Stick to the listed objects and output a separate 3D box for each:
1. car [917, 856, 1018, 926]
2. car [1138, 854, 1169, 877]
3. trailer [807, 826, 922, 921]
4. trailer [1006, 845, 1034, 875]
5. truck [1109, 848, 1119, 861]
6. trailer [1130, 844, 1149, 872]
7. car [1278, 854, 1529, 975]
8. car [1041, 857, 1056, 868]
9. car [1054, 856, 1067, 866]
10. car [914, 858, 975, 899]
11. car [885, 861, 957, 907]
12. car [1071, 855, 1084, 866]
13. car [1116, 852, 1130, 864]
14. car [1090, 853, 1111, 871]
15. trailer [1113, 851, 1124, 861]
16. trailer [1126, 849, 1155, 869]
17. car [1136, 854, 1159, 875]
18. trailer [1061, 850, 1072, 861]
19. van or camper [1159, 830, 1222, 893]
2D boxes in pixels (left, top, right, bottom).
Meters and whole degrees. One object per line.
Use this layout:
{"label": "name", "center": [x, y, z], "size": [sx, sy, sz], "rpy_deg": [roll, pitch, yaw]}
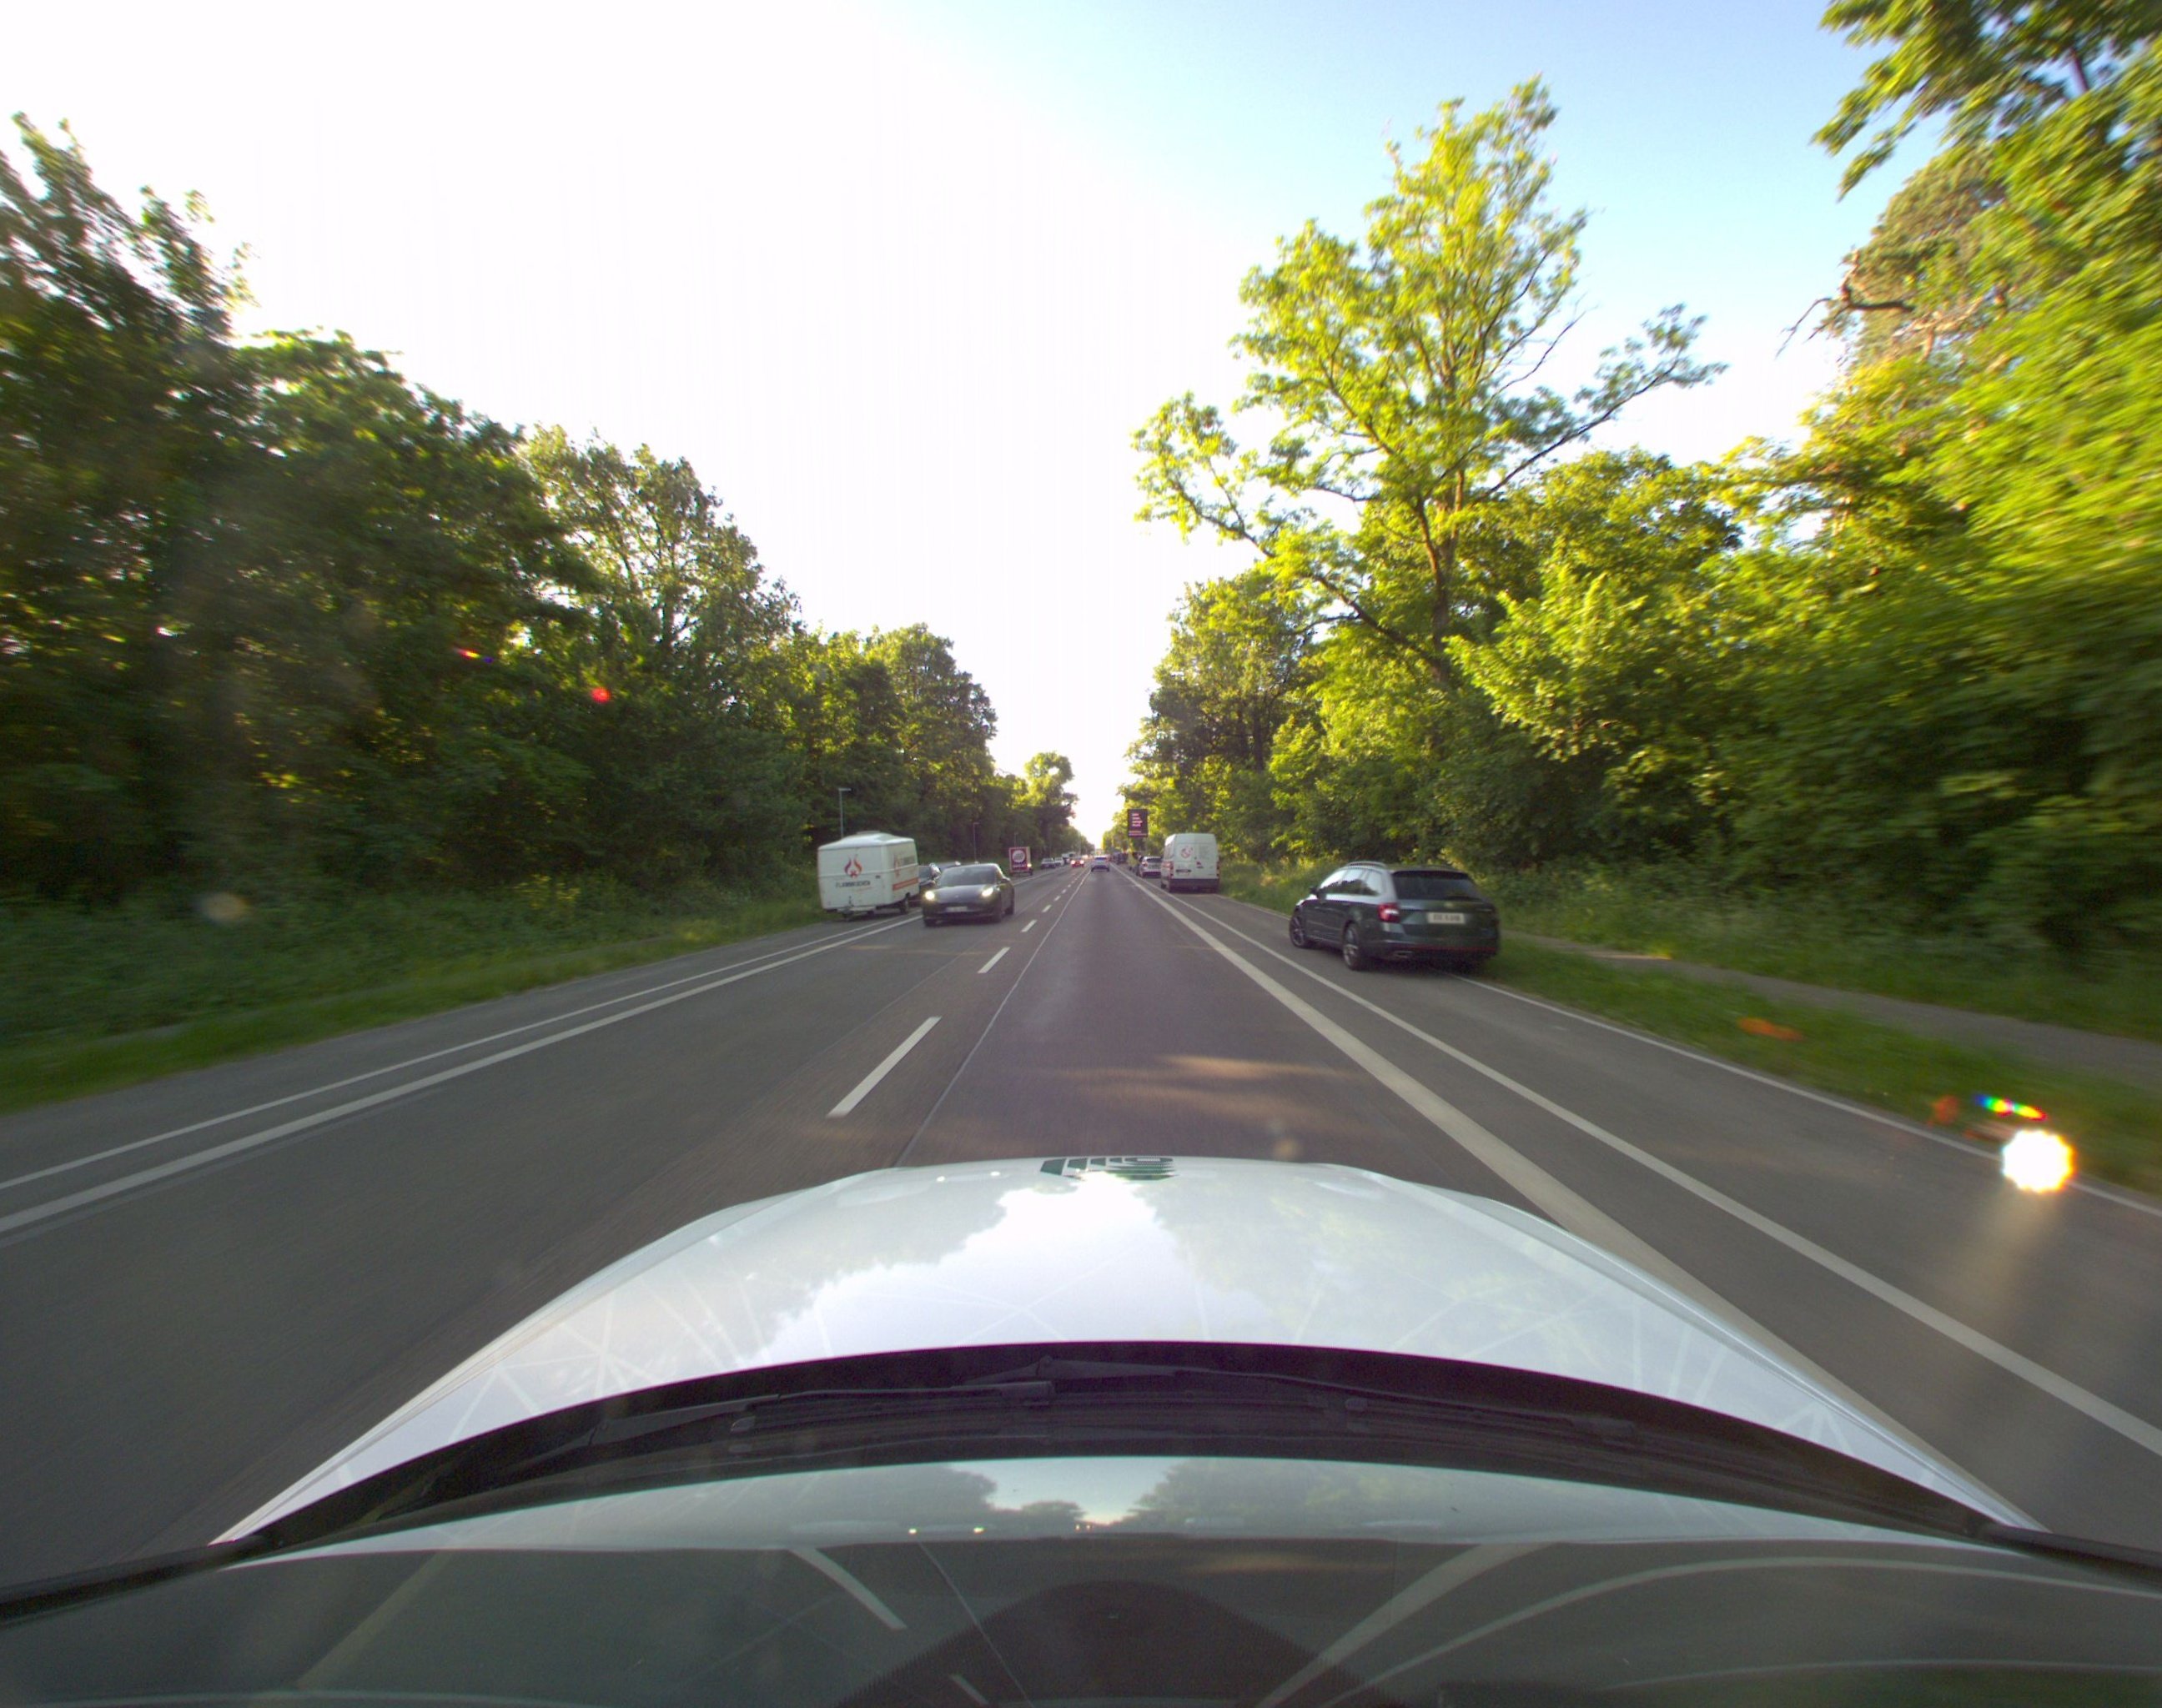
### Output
{"label": "car", "center": [-2.797, 0.867, 21.032], "size": [1.813, 1.532, 4.531], "rpy_deg": [-2, -1, 1]}
{"label": "car", "center": [4.983, 0.748, 56.170], "size": [1.729, 1.488, 4.400], "rpy_deg": [1, 0, 0]}
{"label": "trailer", "center": [-6.390, 0.529, 24.601], "size": [2.340, 2.529, 4.341], "rpy_deg": [-2, 0, -2]}
{"label": "trailer", "center": [-5.474, 0.531, 73.307], "size": [1.986, 2.621, 4.087], "rpy_deg": [-2, 0, 1]}
{"label": "truck", "center": [8.451, 0.130, 207.862], "size": [2.495, 3.366, 7.110], "rpy_deg": [0, -1, 2]}
{"label": "trailer", "center": [5.416, 0.400, 75.602], "size": [1.608, 2.508, 4.001], "rpy_deg": [0, -1, 1]}
{"label": "car", "center": [4.478, 0.741, 12.189], "size": [1.829, 1.421, 4.594], "rpy_deg": [1, 0, -1]}
{"label": "car", "center": [-4.443, 1.164, 111.942], "size": [1.848, 1.464, 4.785], "rpy_deg": [-2, 0, 1]}
{"label": "car", "center": [-3.507, 1.175, 138.920], "size": [1.860, 1.450, 4.072], "rpy_deg": [-4, 0, 1]}
{"label": "car", "center": [-6.070, 1.063, 36.813], "size": [1.665, 1.574, 5.128], "rpy_deg": [-5, -1, 1]}
{"label": "car", "center": [-5.940, 1.066, 30.652], "size": [1.665, 1.495, 4.195], "rpy_deg": [-5, -1, 1]}
{"label": "car", "center": [-0.469, 0.822, 111.100], "size": [1.598, 1.421, 3.519], "rpy_deg": [-3, 0, 1]}
{"label": "car", "center": [6.848, 0.647, 133.578], "size": [2.106, 2.013, 5.041], "rpy_deg": [0, 0, 2]}
{"label": "car", "center": [1.903, 0.743, 80.214], "size": [1.986, 1.640, 4.001], "rpy_deg": [-2, 0, 1]}
{"label": "trailer", "center": [8.180, 0.450, 177.935], "size": [1.600, 2.112, 2.409], "rpy_deg": [-1, 0, 22]}
{"label": "trailer", "center": [6.145, 0.504, 84.037], "size": [1.945, 2.023, 3.864], "rpy_deg": [-1, 0, 21]}
{"label": "car", "center": [4.996, 0.759, 61.448], "size": [1.581, 1.530, 3.012], "rpy_deg": [0, 0, 1]}
{"label": "trailer", "center": [-3.109, 0.418, 179.660], "size": [2.066, 2.293, 3.489], "rpy_deg": [-2, 0, 3]}
{"label": "van or camper", "center": [4.663, 0.300, 35.678], "size": [2.117, 2.482, 6.308], "rpy_deg": [-1, 0, 2]}
